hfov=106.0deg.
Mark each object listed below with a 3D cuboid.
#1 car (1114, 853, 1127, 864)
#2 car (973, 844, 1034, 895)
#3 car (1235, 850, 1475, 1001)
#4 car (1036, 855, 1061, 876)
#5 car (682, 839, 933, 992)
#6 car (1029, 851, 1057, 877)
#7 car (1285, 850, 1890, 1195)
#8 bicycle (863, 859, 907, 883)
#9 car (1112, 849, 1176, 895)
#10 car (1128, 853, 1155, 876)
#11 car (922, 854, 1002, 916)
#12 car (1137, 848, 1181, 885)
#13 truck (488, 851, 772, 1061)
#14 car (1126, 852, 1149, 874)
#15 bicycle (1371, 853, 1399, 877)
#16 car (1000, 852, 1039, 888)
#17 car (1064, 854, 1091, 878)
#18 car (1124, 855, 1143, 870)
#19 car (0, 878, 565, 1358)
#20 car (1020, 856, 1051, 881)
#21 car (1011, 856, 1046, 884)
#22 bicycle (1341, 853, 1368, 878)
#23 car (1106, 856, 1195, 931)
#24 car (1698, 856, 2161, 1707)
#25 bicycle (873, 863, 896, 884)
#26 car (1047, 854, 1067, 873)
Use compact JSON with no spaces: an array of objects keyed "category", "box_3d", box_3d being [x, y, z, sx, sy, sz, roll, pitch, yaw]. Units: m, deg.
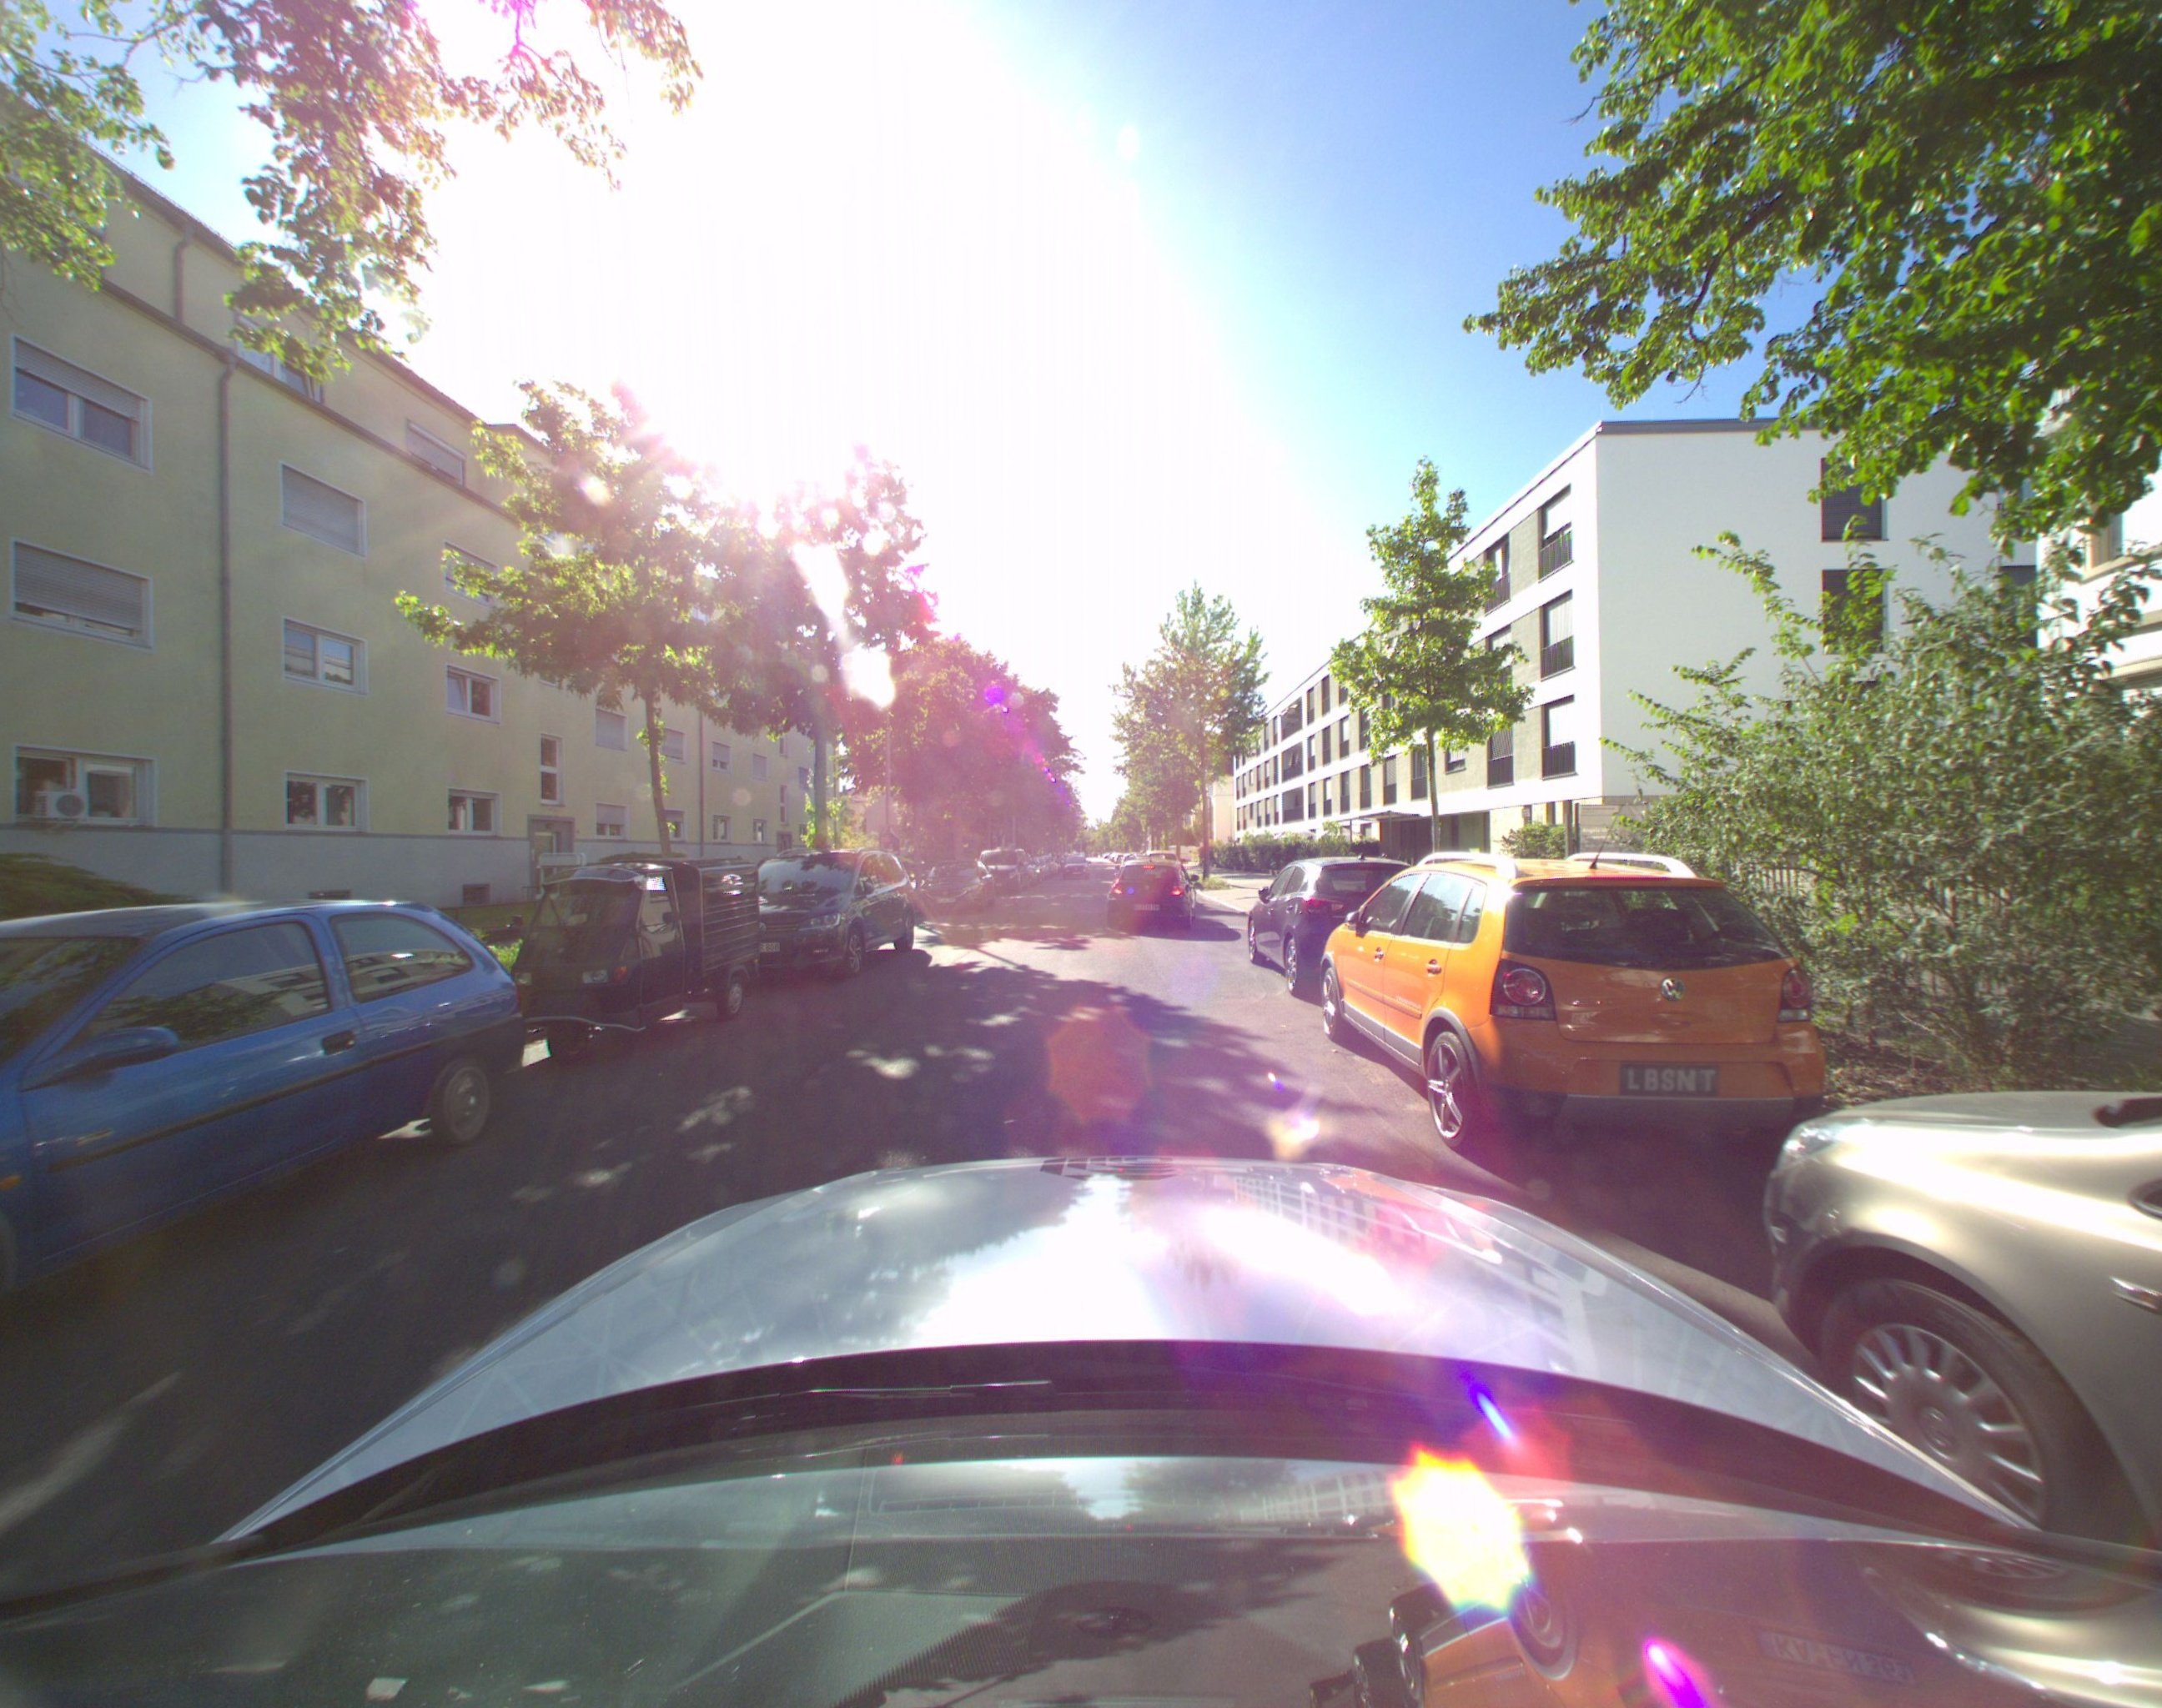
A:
[{"category":"car","box_3d":[5.774,0.605,118.843,1.713,1.480,3.855,-2,0,4]},{"category":"car","box_3d":[-3.192,0.599,34.397,1.819,1.904,5.144,-2,0,2]},{"category":"car","box_3d":[3.102,0.707,10.120,1.694,1.449,4.084,-2,0,2]},{"category":"car","box_3d":[-2.442,0.854,61.673,1.607,1.452,3.866,-2,0,1]},{"category":"car","box_3d":[-3.662,0.716,12.032,1.843,1.680,4.977,-3,0,1]},{"category":"car","box_3d":[-2.594,0.640,55.971,1.607,1.679,4.234,-2,0,1]},{"category":"car","box_3d":[2.692,0.720,5.559,1.631,1.454,4.100,-1,0,1]},{"category":"bicycle","box_3d":[-10.373,0.891,43.158,2.145,1.208,0.688,-1,0,-10]},{"category":"car","box_3d":[2.119,0.582,28.211,1.646,1.425,3.996,-1,0,-4]},{"category":"car","box_3d":[4.265,0.729,57.633,1.714,1.528,4.002,1,0,2]},{"category":"car","box_3d":[-3.376,0.820,23.989,1.502,1.548,4.779,-3,0,1]},{"category":"car","box_3d":[3.545,0.562,37.507,1.840,1.631,4.413,0,-1,3]},{"category":"truck","box_3d":[-3.891,0.777,7.403,1.079,1.577,2.434,-1,0,3]},{"category":"car","box_3d":[4.384,0.675,63.642,1.714,1.641,3.853,1,0,2]},{"category":"bicycle","box_3d":[13.431,0.480,36.018,0.544,1.055,1.779,-2,0,-1]},{"category":"car","box_3d":[-2.968,0.749,40.127,1.607,1.611,4.227,-2,0,-1]},{"category":"car","box_3d":[-0.211,0.710,50.397,1.500,1.426,3.179,-2,0,2]},{"category":"car","box_3d":[5.057,0.776,78.756,1.714,1.379,3.853,1,0,2]},{"category":"car","box_3d":[-4.099,0.869,3.378,1.516,1.395,3.726,-1,0,0]},{"category":"car","box_3d":[-2.801,0.869,50.530,1.607,1.427,3.726,-2,0,1]},{"category":"car","box_3d":[-2.866,0.847,45.435,1.607,1.427,4.058,-2,0,1]},{"category":"bicycle","box_3d":[12.072,0.510,35.993,0.544,1.055,1.690,-2,0,-1]},{"category":"car","box_3d":[1.401,0.771,17.557,1.644,1.397,3.412,-1,0,1]},{"category":"car","box_3d":[2.586,0.737,0.496,1.644,1.428,3.611,-2,0,-1]},{"category":"bicycle","box_3d":[-9.714,0.958,40.278,0.592,0.991,1.928,-1,0,1]},{"category":"car","box_3d":[-2.131,0.845,73.196,1.607,1.543,3.866,-2,0,1]}]
